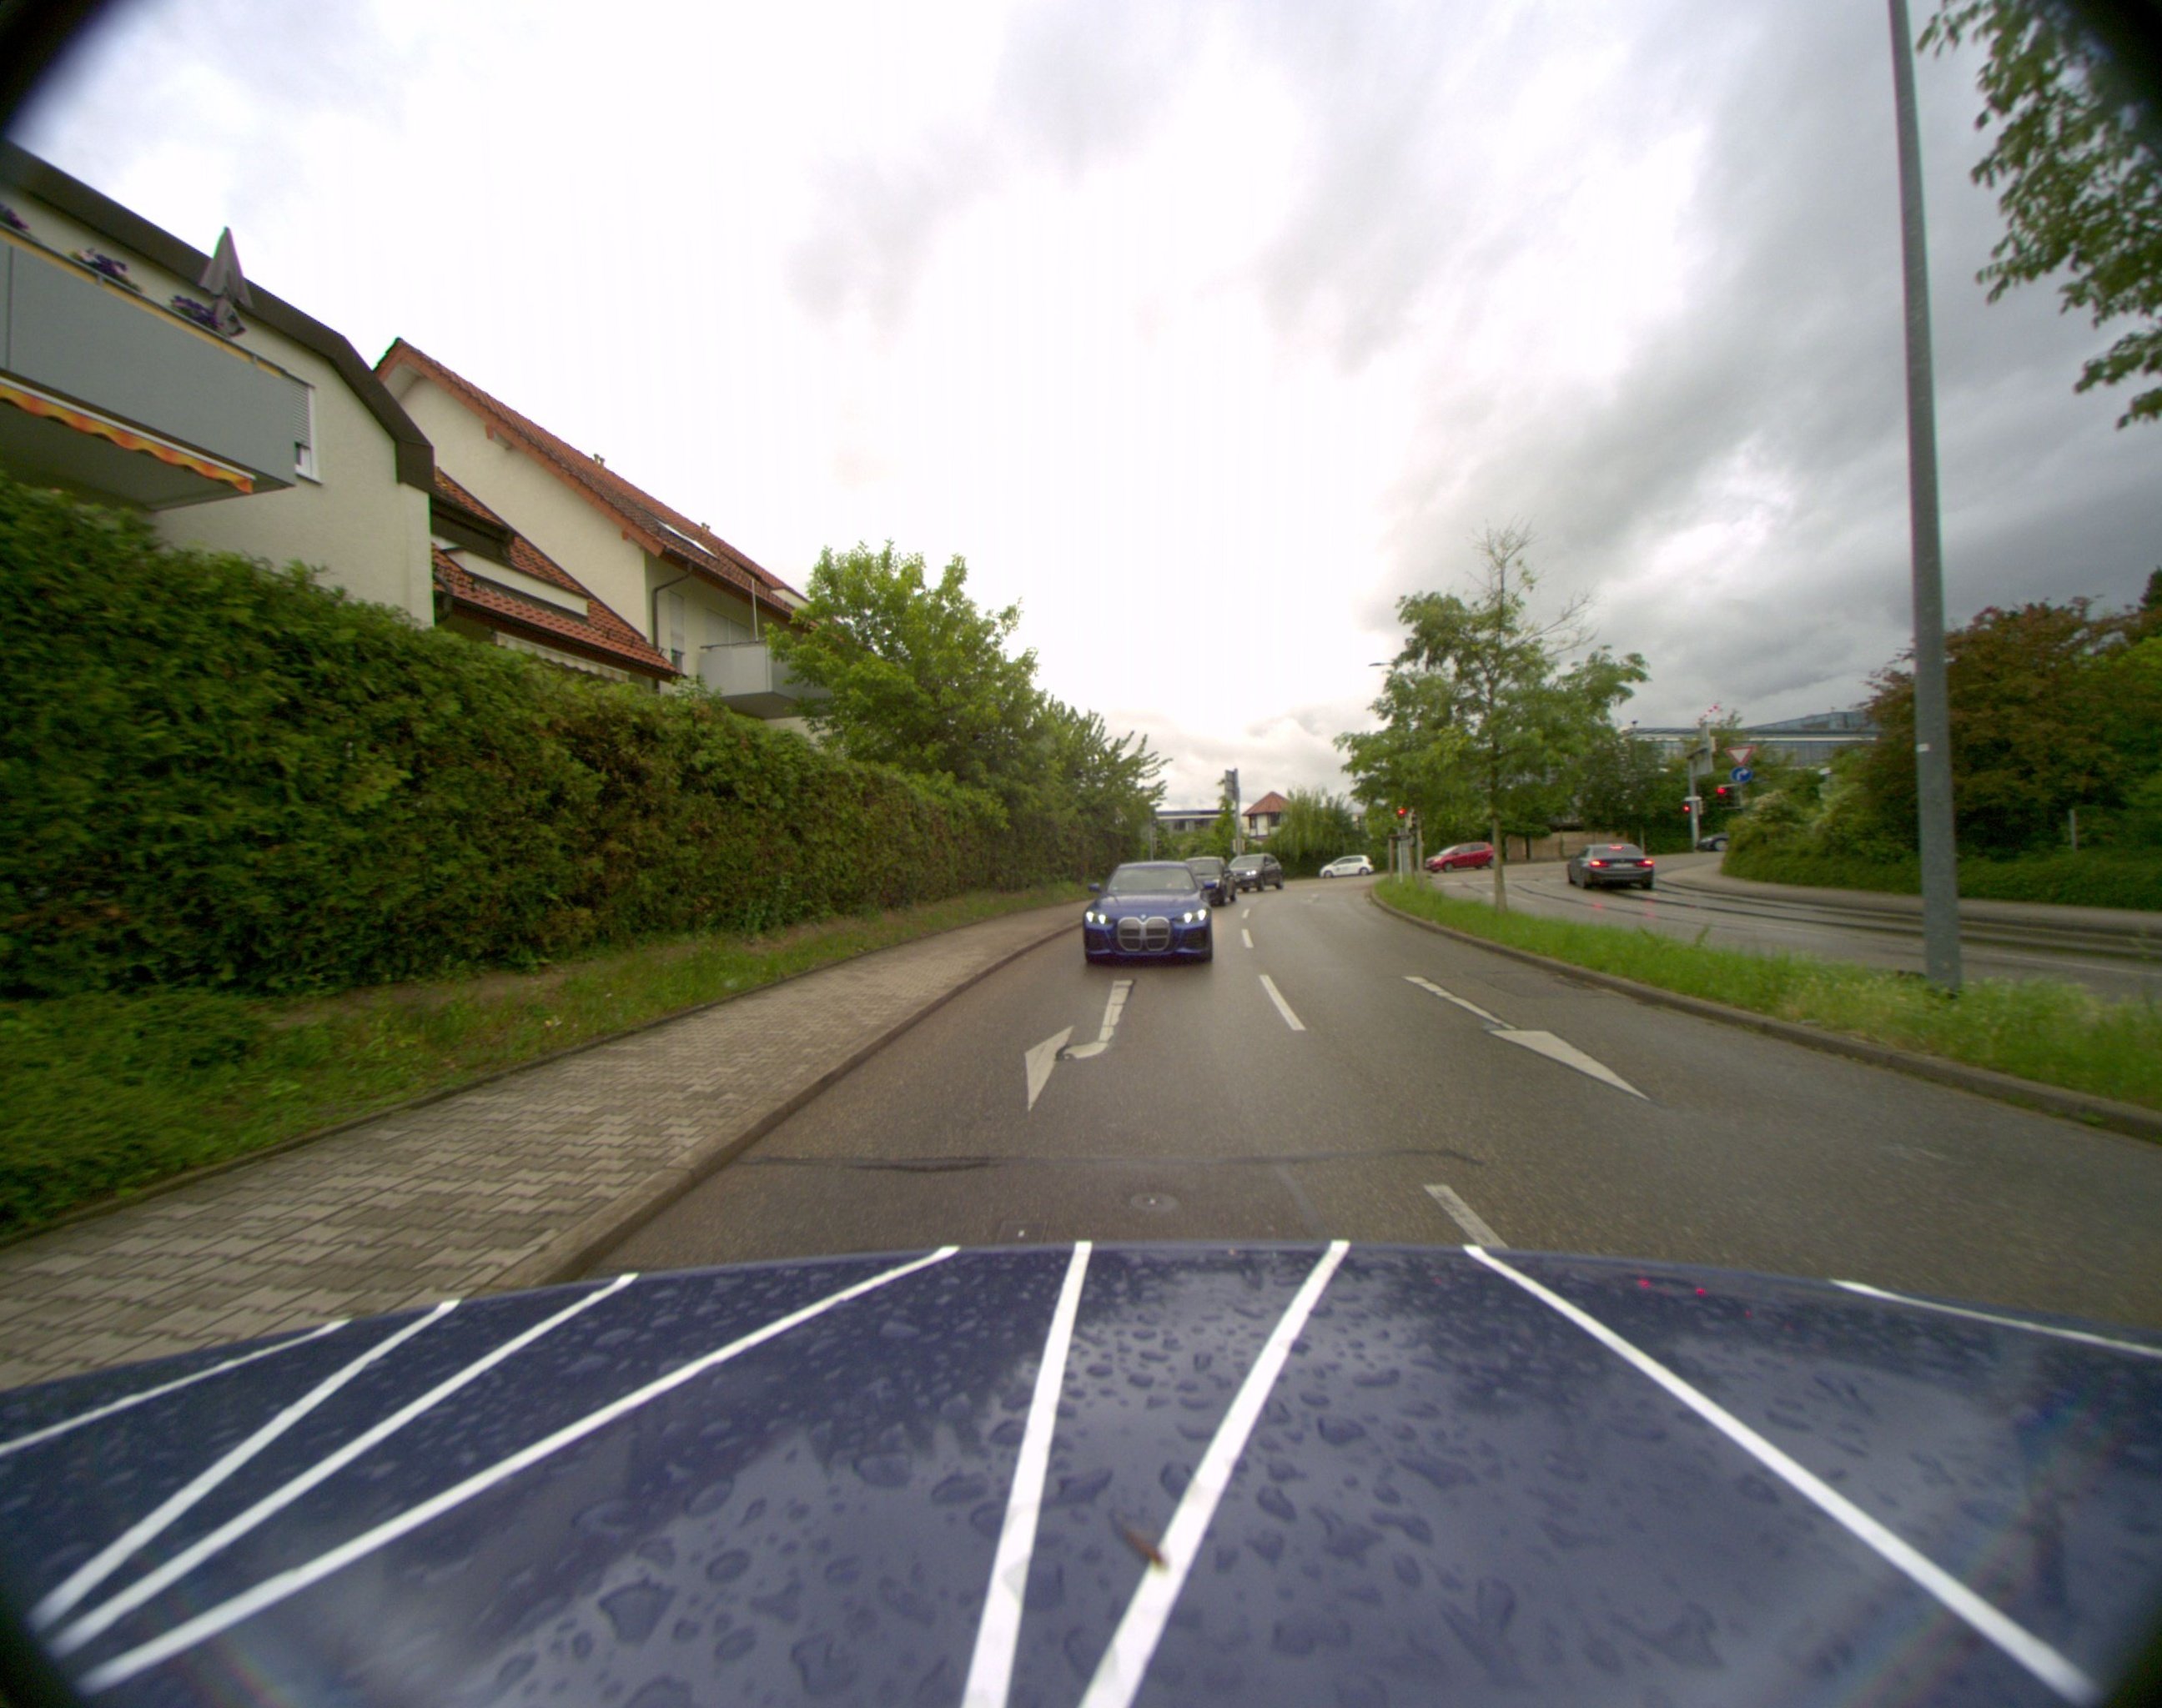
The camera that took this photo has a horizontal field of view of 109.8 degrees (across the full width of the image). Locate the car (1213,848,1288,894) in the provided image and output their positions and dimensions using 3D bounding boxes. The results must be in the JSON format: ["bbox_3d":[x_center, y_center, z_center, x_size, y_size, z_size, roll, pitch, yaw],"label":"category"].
[{"bbox_3d":[7.480,0.703,33.220,1.964,1.739,4.316,-6,-3,27],"label":"car"}]

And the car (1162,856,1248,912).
[{"bbox_3d":[4.062,0.914,24.357,1.744,1.509,4.007,-6,-3,22],"label":"car"}]

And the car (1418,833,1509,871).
[{"bbox_3d":[21.200,-0.087,42.224,3.997,1.715,1.870,-5,-2,0],"label":"car"}]

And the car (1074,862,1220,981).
[{"bbox_3d":[1.166,0.933,12.277,1.912,1.487,4.351,-1,0,8],"label":"car"}]

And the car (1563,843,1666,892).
[{"bbox_3d":[17.328,0.428,24.907,1.995,1.429,4.556,-1,-1,25],"label":"car"}]

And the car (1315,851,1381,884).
[{"bbox_3d":[19.023,0.980,54.177,3.991,2.001,2.004,-6,-3,28],"label":"car"}]
